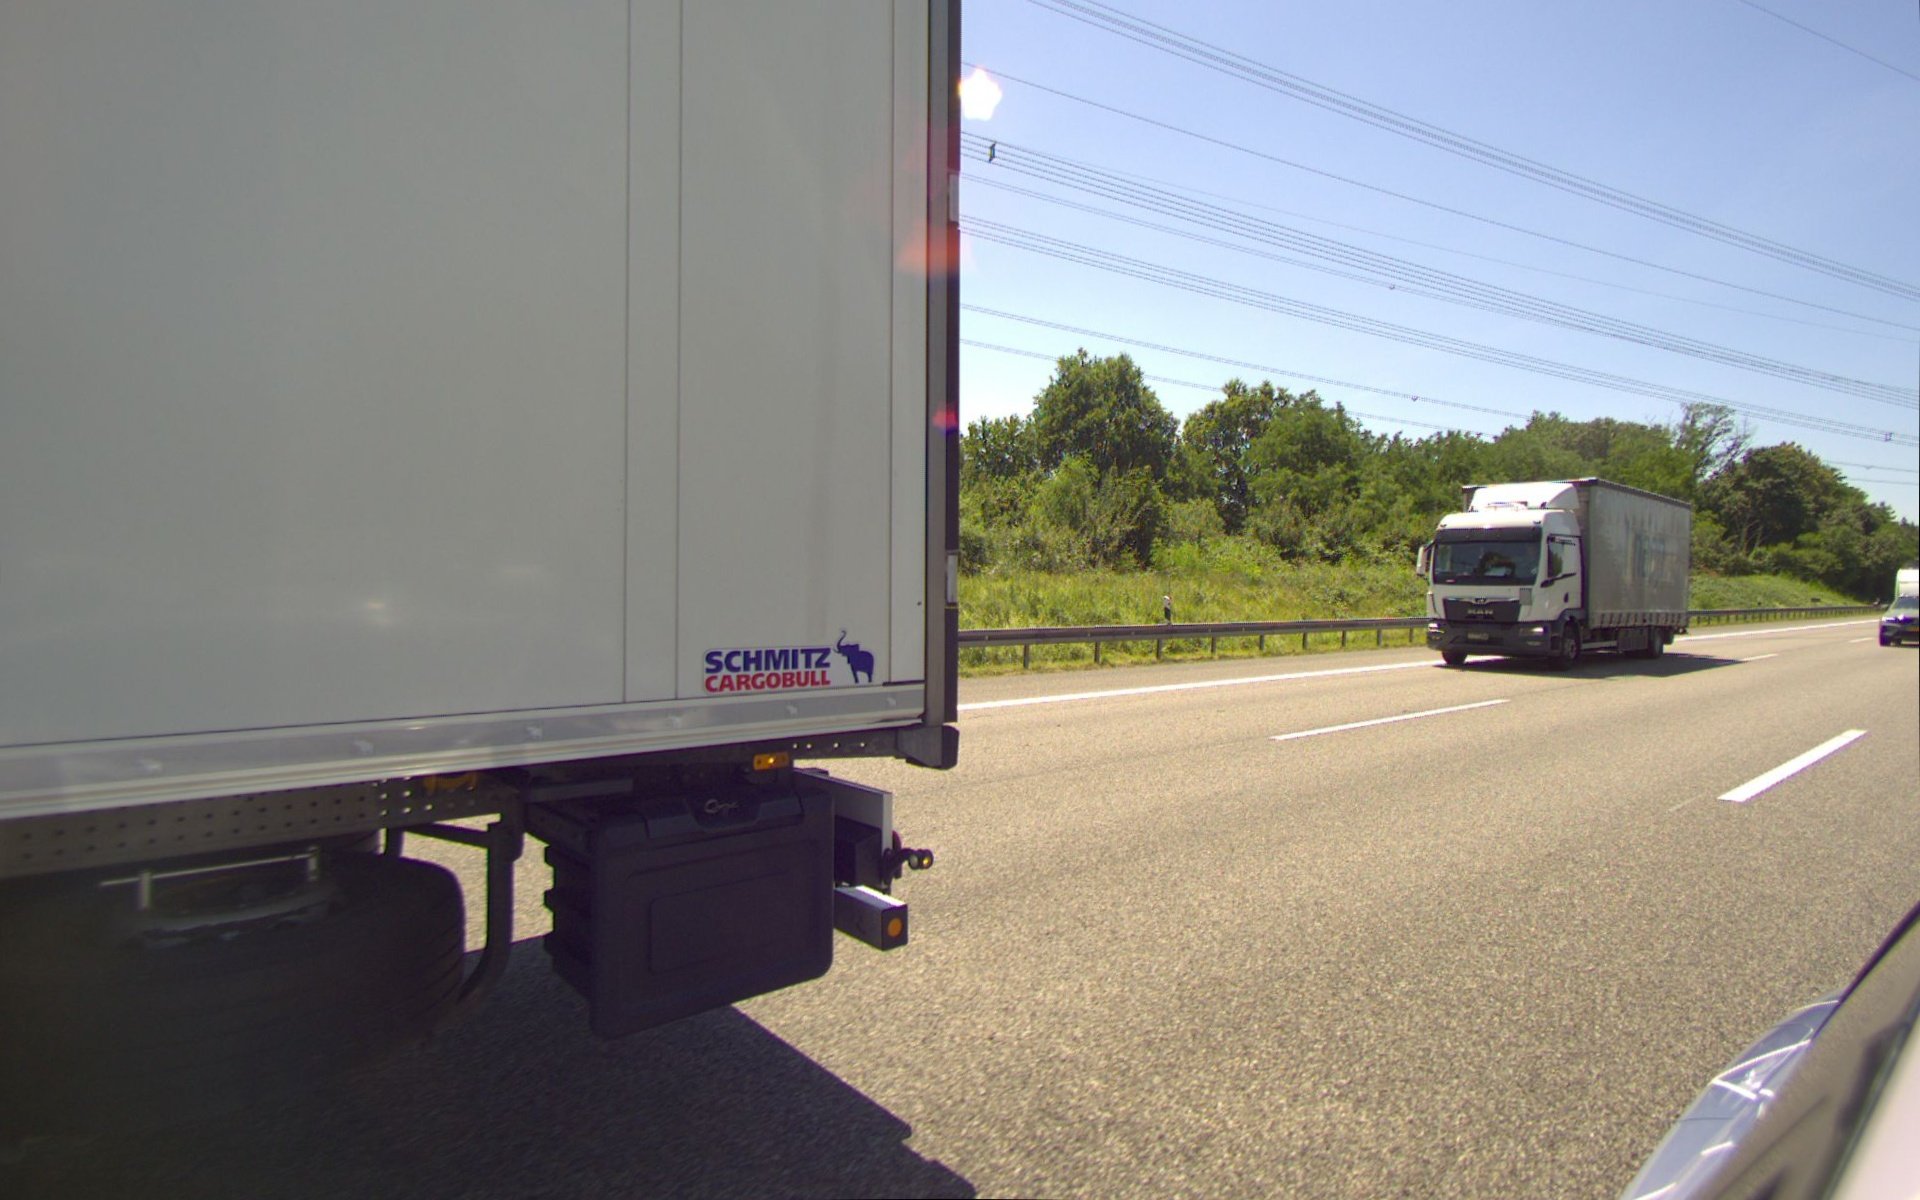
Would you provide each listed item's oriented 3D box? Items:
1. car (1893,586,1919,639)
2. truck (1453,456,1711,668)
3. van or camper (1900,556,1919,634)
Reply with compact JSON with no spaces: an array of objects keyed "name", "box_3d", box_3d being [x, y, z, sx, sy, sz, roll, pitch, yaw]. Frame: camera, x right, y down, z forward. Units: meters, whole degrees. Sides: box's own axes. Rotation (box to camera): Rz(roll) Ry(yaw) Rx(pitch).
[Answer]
[{"name":"car","box_3d":[29.921,0.371,30.826,4.033,1.548,1.786,0,1,-41]},{"name":"truck","box_3d":[13.980,-0.723,22.246,9.868,3.819,1.986,0,1,-41]},{"name":"van or camper","box_3d":[33.876,-0.148,34.198,6.320,2.528,2.410,0,1,-41]}]
